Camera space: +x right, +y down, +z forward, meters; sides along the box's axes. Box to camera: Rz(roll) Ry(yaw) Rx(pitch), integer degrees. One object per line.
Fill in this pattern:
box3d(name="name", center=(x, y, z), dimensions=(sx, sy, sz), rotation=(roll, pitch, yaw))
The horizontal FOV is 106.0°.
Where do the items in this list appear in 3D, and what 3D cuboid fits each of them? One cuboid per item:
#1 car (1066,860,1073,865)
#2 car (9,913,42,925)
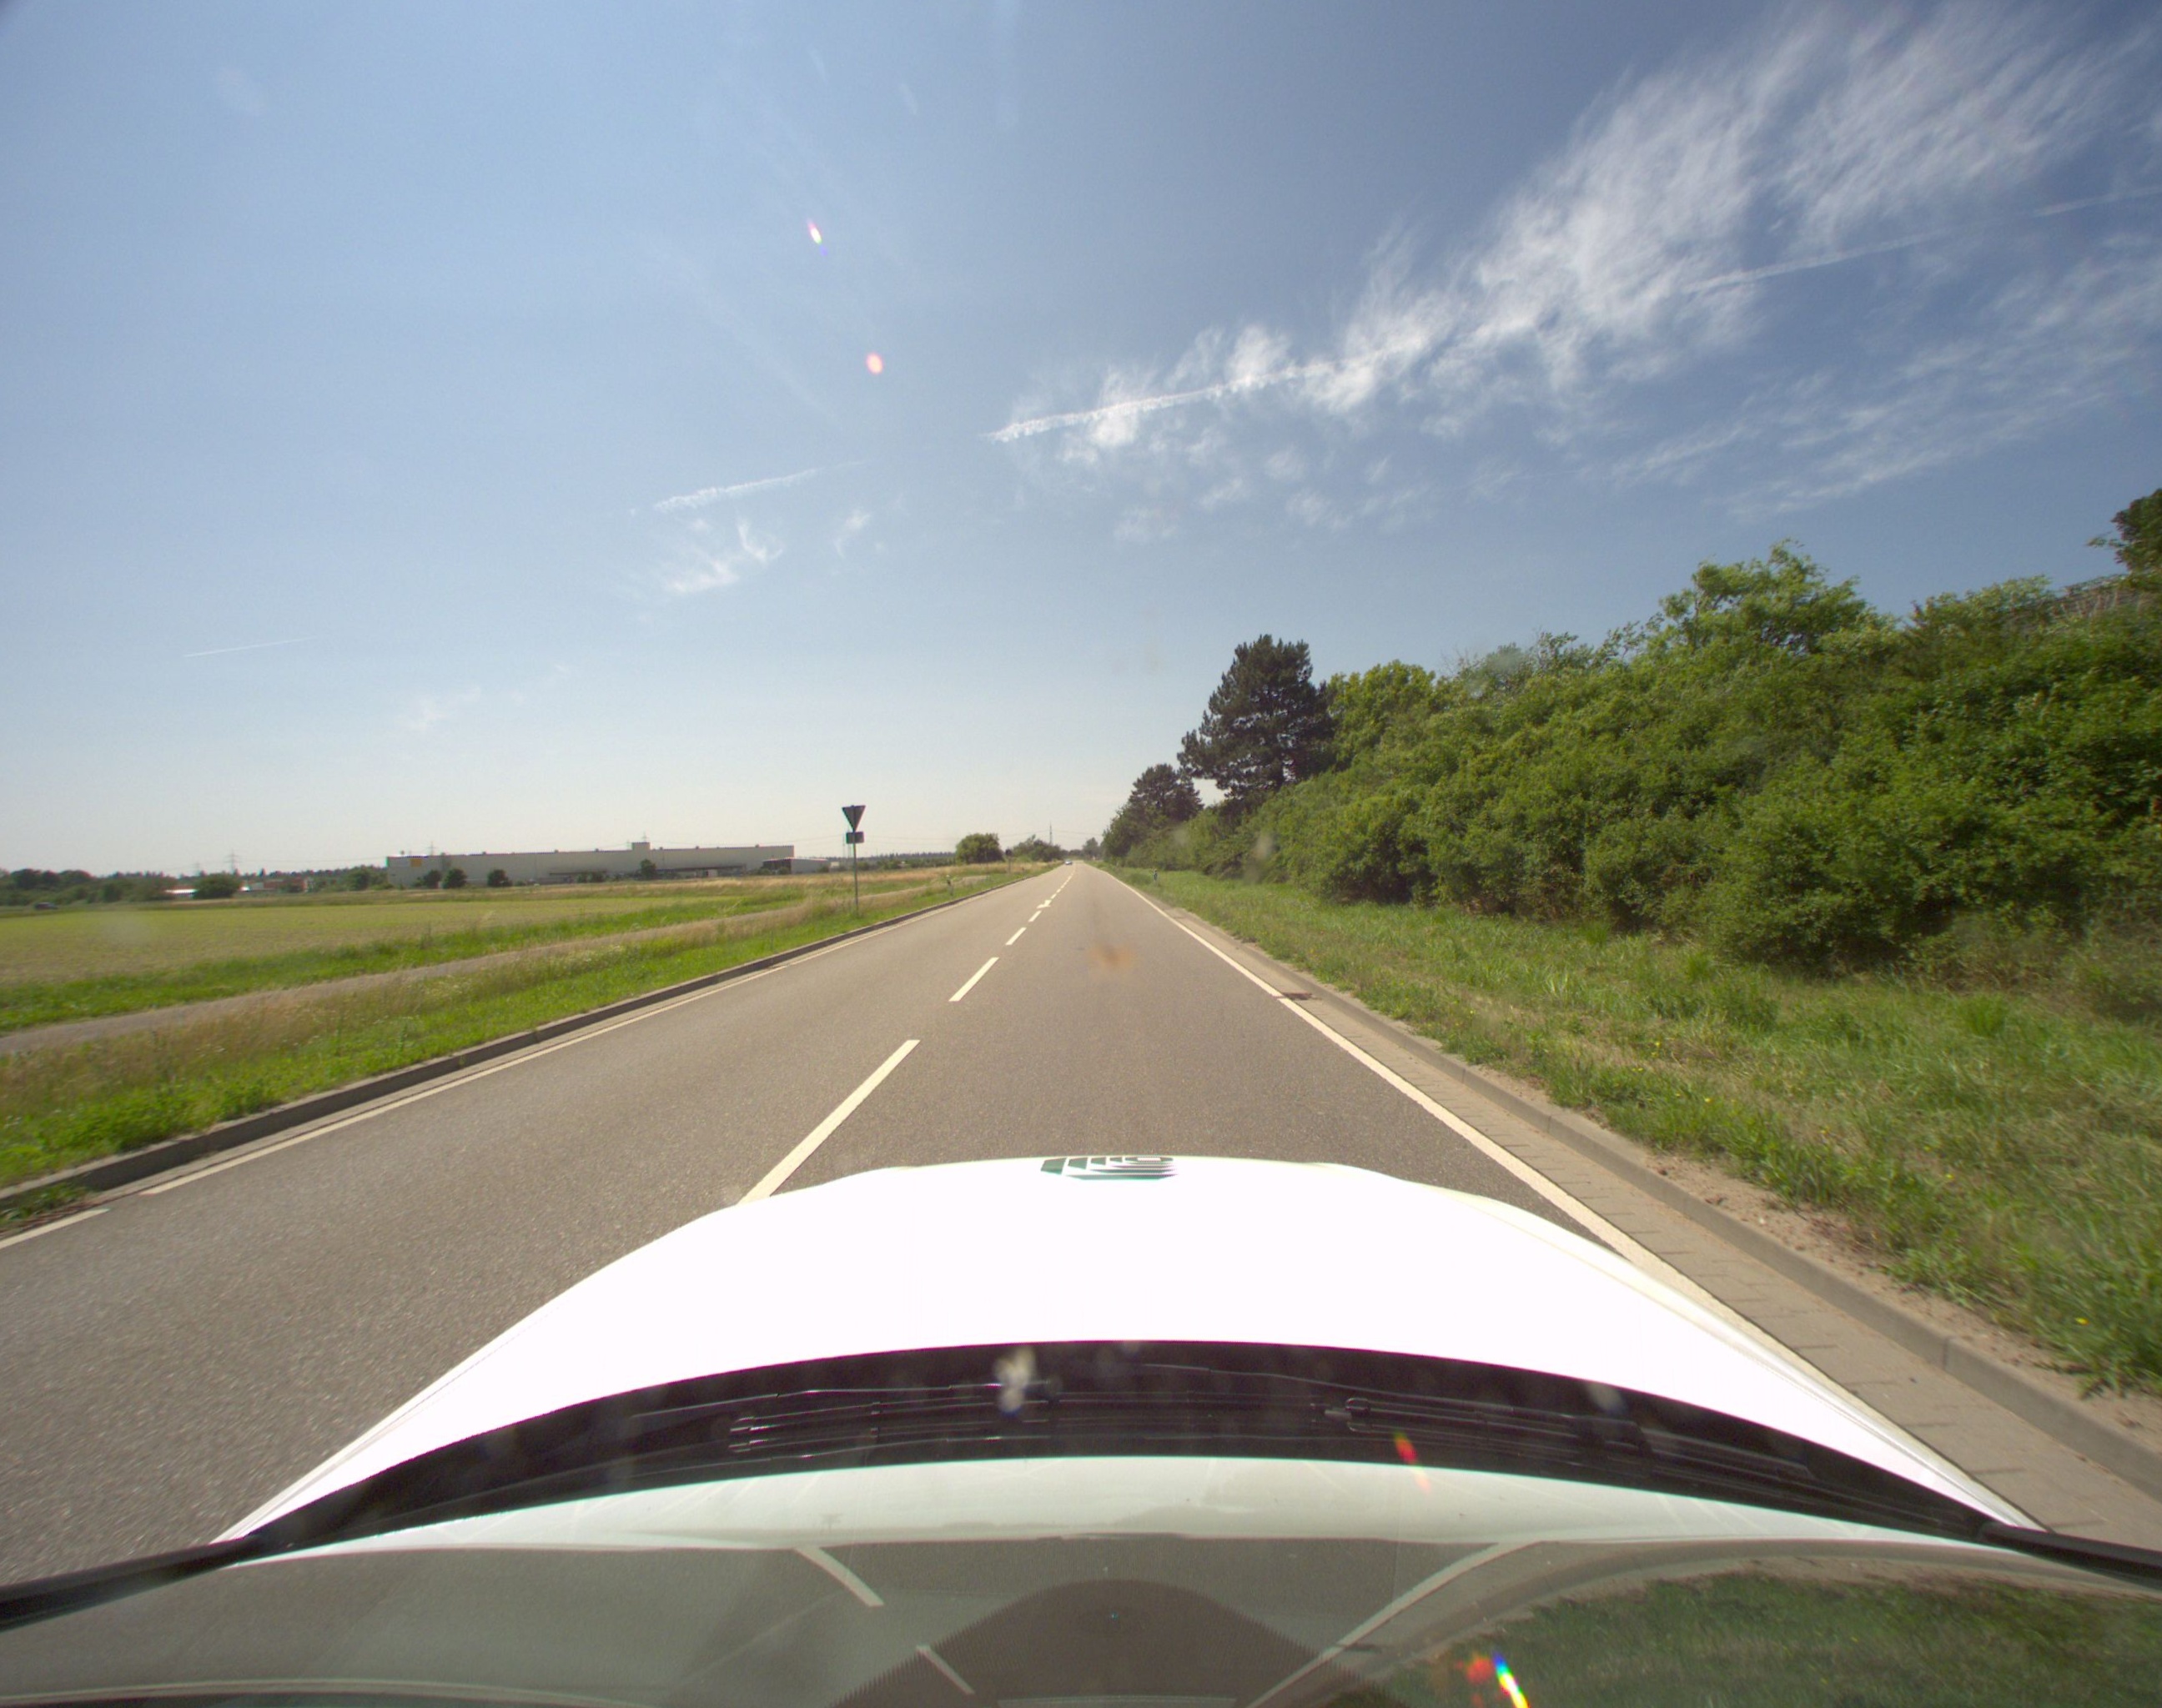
box3d(name="car", center=(-3.180, 2.363, 225.134), dimensions=(1.673, 1.421, 4.420), rotation=(-5, 0, -1))
box3d(name="car", center=(-195.982, 12.042, 151.187), dimensions=(2.003, 1.772, 3.968), rotation=(-4, 0, -24))
